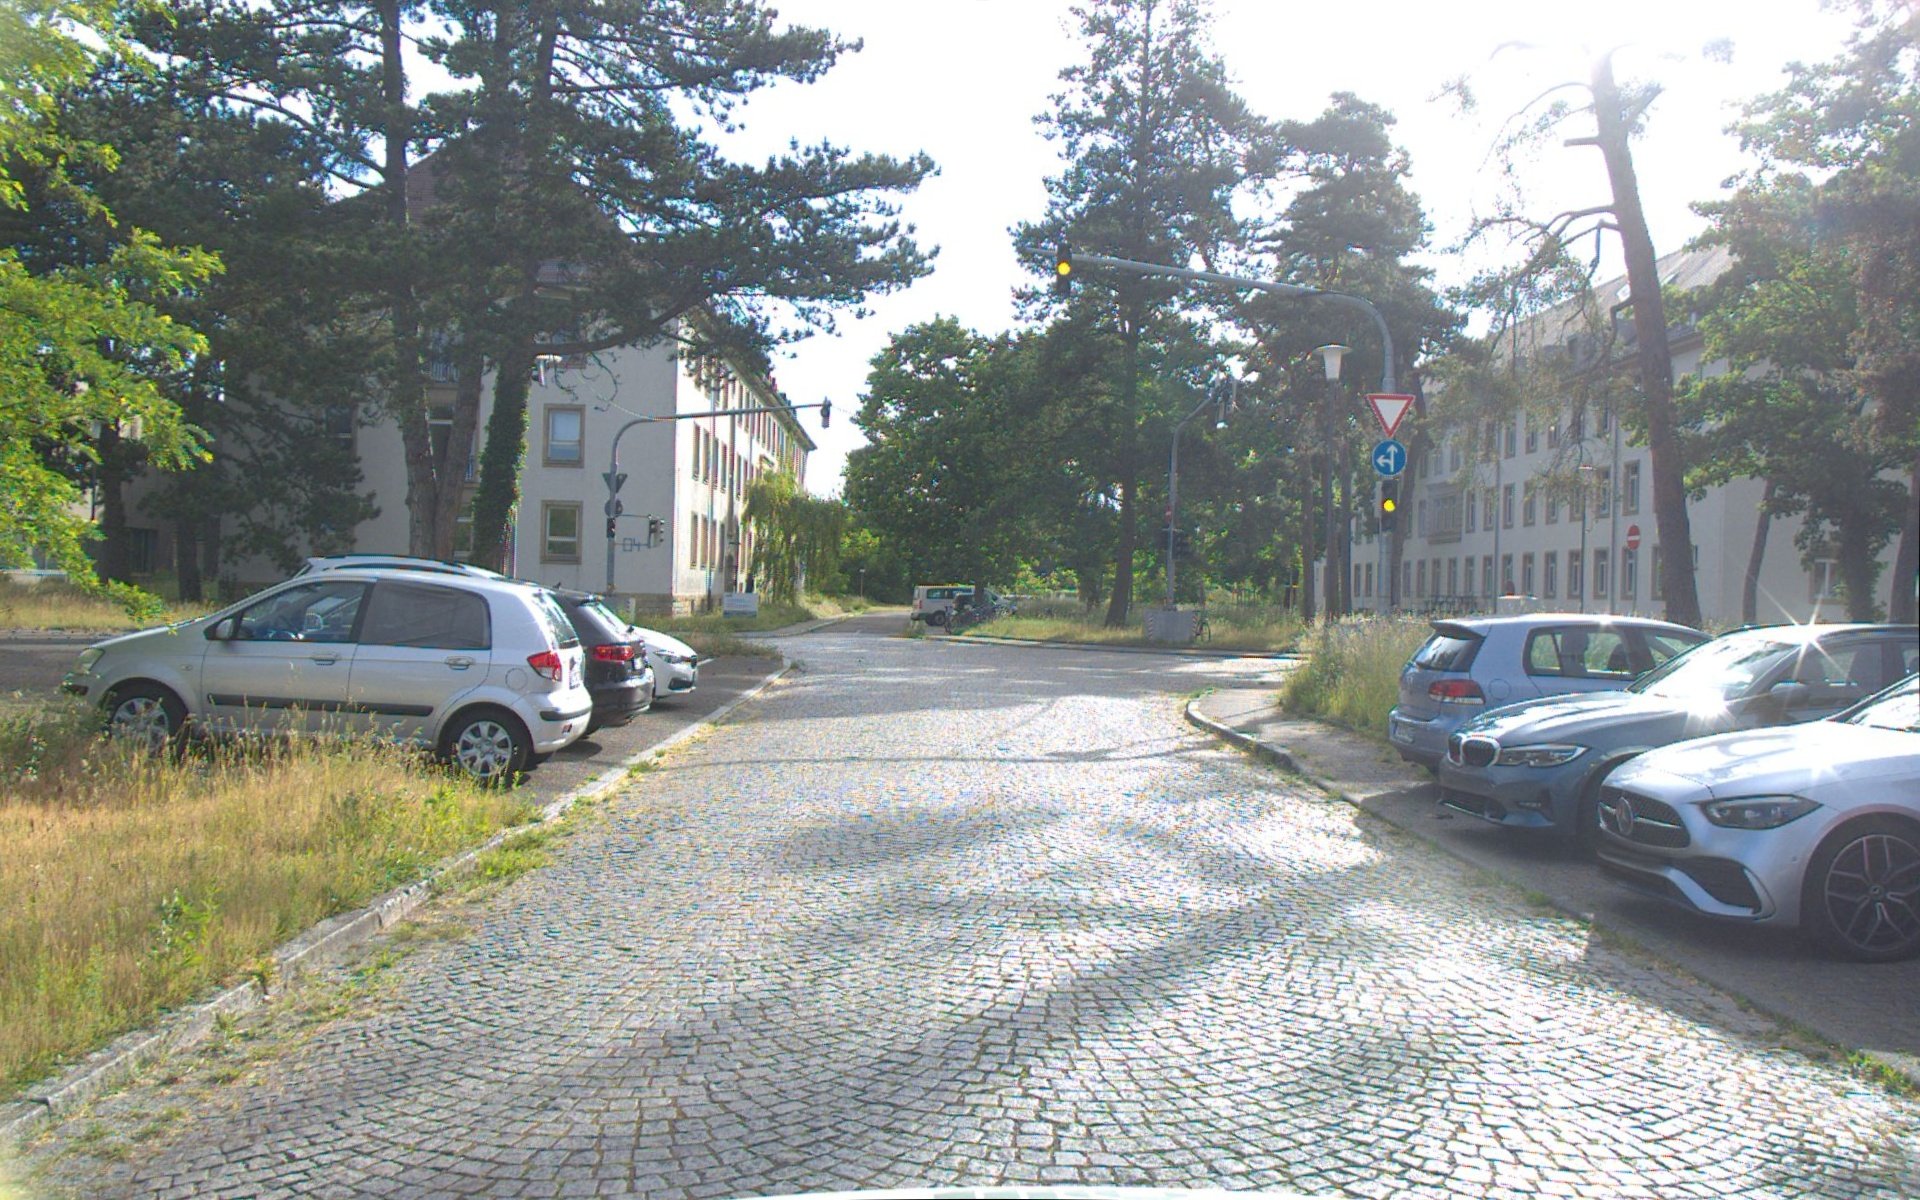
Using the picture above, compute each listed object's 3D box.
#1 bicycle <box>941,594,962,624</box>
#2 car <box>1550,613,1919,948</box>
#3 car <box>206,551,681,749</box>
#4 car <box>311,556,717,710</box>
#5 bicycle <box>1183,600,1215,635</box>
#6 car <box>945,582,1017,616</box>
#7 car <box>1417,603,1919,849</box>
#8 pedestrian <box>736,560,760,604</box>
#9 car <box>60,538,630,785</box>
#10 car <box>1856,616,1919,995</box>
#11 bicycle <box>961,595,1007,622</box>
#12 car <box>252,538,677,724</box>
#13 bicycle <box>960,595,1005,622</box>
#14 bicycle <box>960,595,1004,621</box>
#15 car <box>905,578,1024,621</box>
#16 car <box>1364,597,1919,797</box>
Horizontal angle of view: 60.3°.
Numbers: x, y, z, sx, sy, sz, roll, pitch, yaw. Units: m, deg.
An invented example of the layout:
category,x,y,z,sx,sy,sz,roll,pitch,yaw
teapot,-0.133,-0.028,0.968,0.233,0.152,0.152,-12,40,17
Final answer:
category,x,y,z,sx,sy,sz,roll,pitch,yaw
bicycle,-0.318,0.329,61.216,0.713,1.016,1.798,1,1,-2
car,5.564,0.846,8.488,4.416,1.499,1.849,1,0,-2
car,-4.645,0.440,15.348,3.753,1.454,1.858,4,0,-3
car,-5.408,0.374,20.562,4.497,1.480,1.902,4,1,-4
bicycle,7.345,0.522,50.868,0.551,1.016,1.750,1,1,-6
car,0.969,-0.053,77.217,2.981,1.491,1.714,2,-1,-14
car,5.601,0.799,11.269,4.419,1.499,1.893,1,0,-6
pedestrian,-9.840,-0.849,76.867,0.965,1.997,0.932,1,0,-2
car,-4.540,0.442,12.696,3.610,1.499,1.848,4,0,-3
car,5.954,0.842,6.229,4.253,1.499,1.739,1,0,-2
bicycle,0.932,0.328,64.845,1.757,1.016,0.644,1,1,-3
car,-5.252,0.329,18.024,4.043,1.627,1.856,4,0,-6
bicycle,0.903,0.329,65.865,1.757,1.016,0.644,1,1,-3
bicycle,0.881,0.328,66.587,1.757,1.016,0.644,1,1,-3
car,0.218,-0.019,80.760,5.410,1.949,2.245,2,0,-16
car,5.879,0.766,13.903,4.453,1.531,1.932,1,0,-4
